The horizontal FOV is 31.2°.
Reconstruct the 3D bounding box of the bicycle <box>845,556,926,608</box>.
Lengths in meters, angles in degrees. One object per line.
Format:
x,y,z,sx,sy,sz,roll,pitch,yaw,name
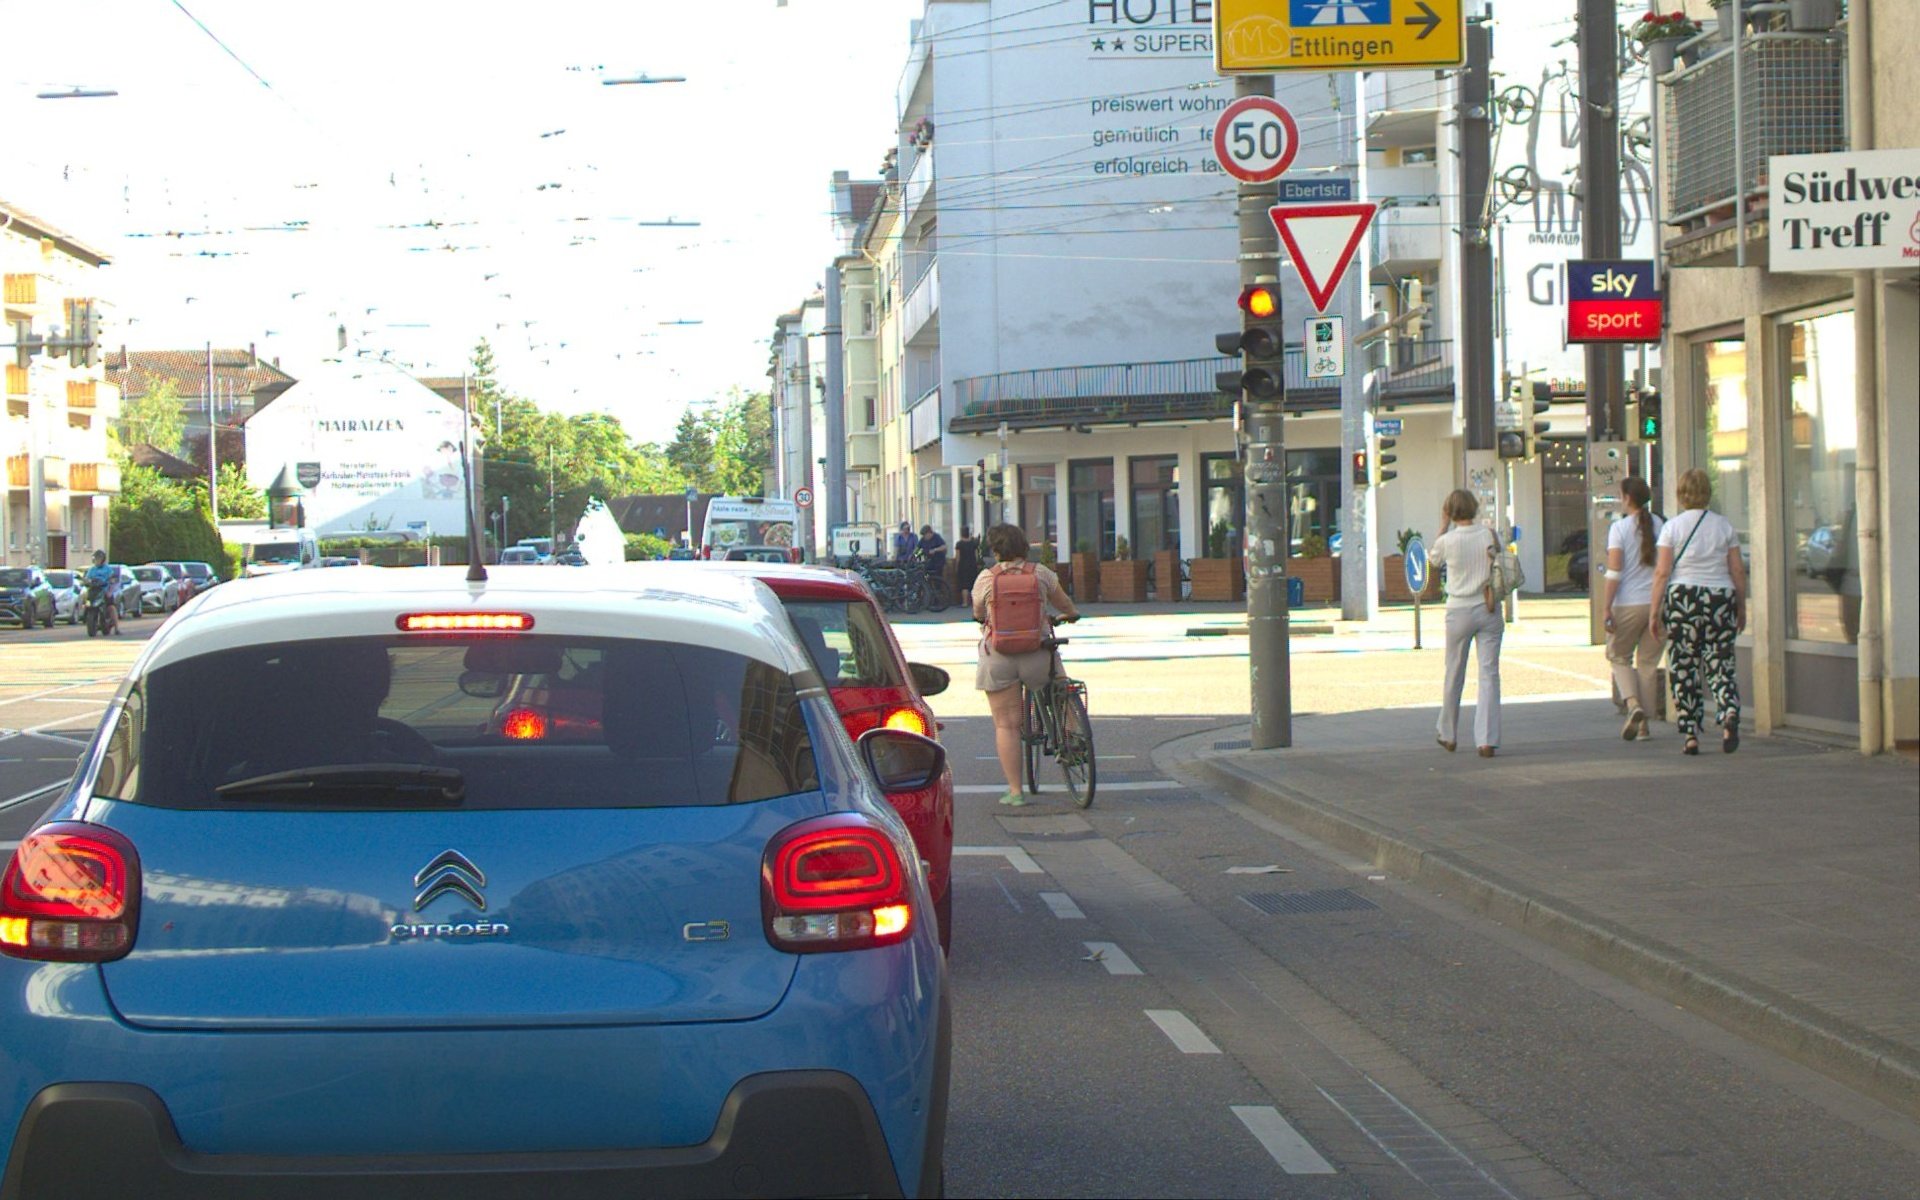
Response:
-1.418,-0.352,65.992,1.504,0.953,0.702,-1,1,1,bicycle

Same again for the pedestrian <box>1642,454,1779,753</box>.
4.307,0.013,19.766,0.541,1.666,0.650,-3,1,-2,pedestrian

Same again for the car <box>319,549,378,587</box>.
-25.709,-1.345,144.616,2.021,1.520,4.001,-1,1,-4,car

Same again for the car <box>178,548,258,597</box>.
-26.207,-0.980,121.587,2.030,1.614,4.511,-1,1,-3,car

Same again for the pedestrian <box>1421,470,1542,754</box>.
3.161,0.059,20.861,0.541,1.666,0.624,-3,3,-2,pedestrian

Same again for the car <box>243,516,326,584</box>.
-23.317,-1.737,118.774,2.206,2.243,4.678,-1,1,-4,car

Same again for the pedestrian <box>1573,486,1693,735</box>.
4.217,0.054,21.566,0.541,1.502,0.611,-3,3,-2,pedestrian

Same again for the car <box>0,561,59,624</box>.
-23.875,-0.199,85.961,1.910,1.492,4.001,-1,1,-5,car

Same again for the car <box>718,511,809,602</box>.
-3.872,-0.853,67.519,1.732,1.744,3.214,0,1,-4,car

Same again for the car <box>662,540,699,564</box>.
-14.908,-2.570,183.098,1.754,1.255,3.833,-1,1,-7,car

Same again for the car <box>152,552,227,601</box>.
-26.013,-0.812,116.163,1.870,1.568,4.001,-1,1,-4,car

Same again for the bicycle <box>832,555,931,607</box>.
-1.522,-0.367,67.052,1.874,0.953,0.702,-1,1,1,bicycle

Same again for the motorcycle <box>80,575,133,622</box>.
-16.694,-0.031,67.281,0.615,0.861,1.671,-1,1,0,motorcycle

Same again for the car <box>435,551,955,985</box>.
-0.919,0.541,13.663,1.738,1.415,4.000,-1,1,-1,car

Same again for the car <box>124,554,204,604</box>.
-25.705,-0.692,111.071,1.910,1.492,4.001,-1,1,-5,car

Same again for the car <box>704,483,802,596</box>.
-4.364,-1.262,72.429,1.993,2.317,4.001,0,1,-4,car

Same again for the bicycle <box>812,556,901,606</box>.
-2.062,-0.380,68.411,1.720,0.953,0.702,-1,1,1,bicycle

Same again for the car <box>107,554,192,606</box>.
-24.980,-0.629,106.072,1.910,1.492,4.001,-1,1,-5,car

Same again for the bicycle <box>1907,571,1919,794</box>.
4.911,0.406,15.718,0.530,1.068,1.811,-1,1,-4,bicycle

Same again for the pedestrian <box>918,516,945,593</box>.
-0.583,-0.927,69.963,0.491,1.550,0.384,-1,1,-3,pedestrian

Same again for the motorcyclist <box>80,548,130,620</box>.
-16.688,-0.315,67.121,0.719,1.373,0.911,-1,1,0,motorcyclist

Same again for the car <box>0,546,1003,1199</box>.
-1.027,0.619,7.374,1.743,1.457,4.001,0,1,-7,car

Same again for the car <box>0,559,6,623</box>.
-23.348,-0.168,79.178,1.910,1.492,4.001,-1,1,-5,car

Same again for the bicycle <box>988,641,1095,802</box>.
0.479,0.713,20.716,0.498,0.861,1.749,-1,1,-3,bicycle

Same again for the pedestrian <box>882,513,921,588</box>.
-1.234,-1.042,72.575,0.646,1.550,0.493,-2,1,-22,pedestrian

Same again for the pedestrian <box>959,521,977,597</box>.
0.166,-0.832,70.143,0.284,1.550,0.305,-1,1,-9,pedestrian

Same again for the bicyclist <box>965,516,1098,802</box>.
0.414,0.335,20.289,0.726,1.640,0.790,-1,1,-1,bicyclist

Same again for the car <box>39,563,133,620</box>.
-24.801,-0.262,97.672,1.910,1.492,4.001,-1,1,-5,car

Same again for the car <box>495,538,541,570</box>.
-21.774,-2.264,169.396,2.021,1.520,4.001,-1,1,-4,car

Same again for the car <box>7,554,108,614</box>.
-24.143,-0.452,92.096,1.910,1.492,4.001,-1,1,-5,car

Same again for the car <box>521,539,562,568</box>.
-22.798,-2.531,187.332,2.021,1.520,4.001,-2,1,-4,car
